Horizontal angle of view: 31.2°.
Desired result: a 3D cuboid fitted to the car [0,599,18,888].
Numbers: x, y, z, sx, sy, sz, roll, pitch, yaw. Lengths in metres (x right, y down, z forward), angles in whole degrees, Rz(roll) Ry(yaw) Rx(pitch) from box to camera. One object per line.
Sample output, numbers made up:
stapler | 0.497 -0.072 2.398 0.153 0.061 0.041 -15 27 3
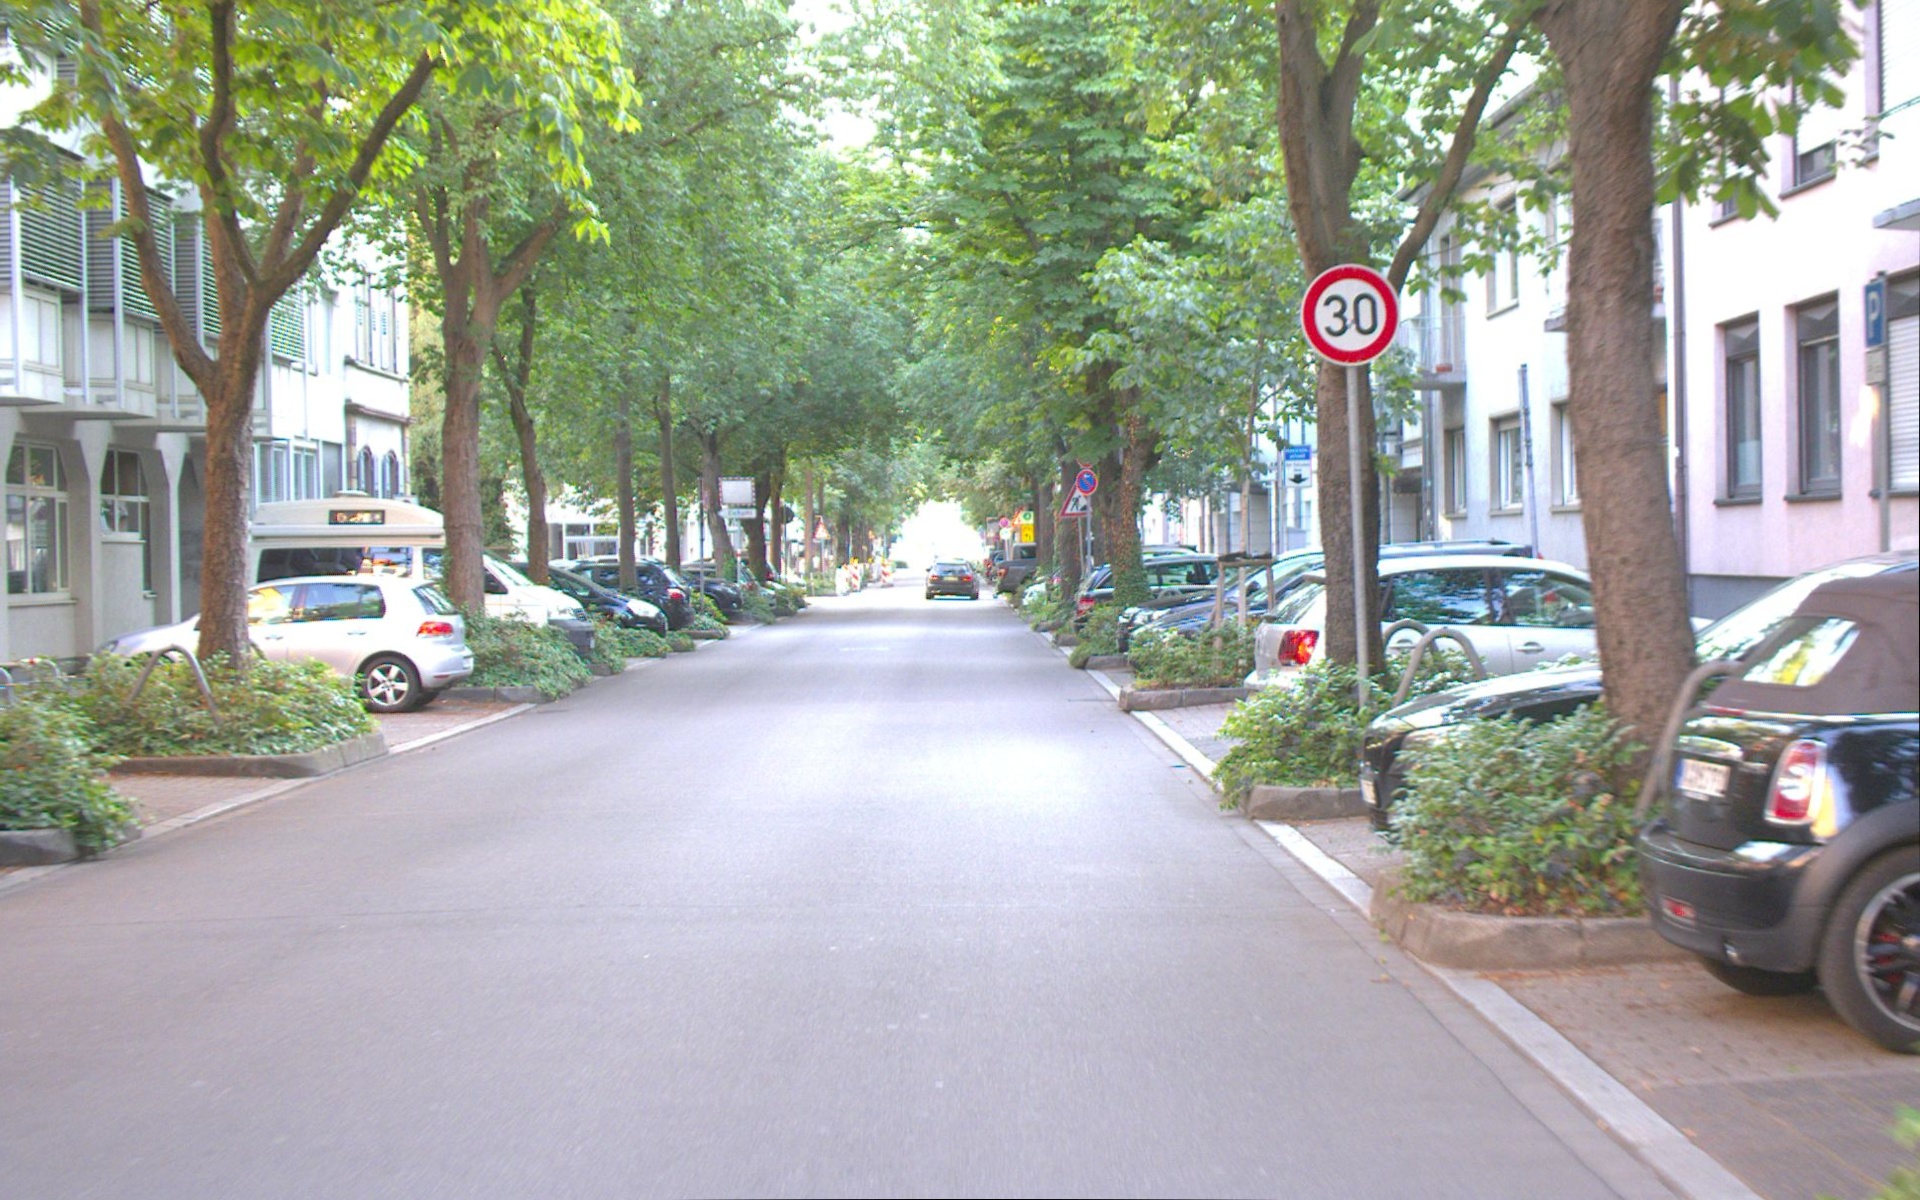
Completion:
car | -7.002 0.746 17.073 4.127 1.481 1.929 0 1 -1

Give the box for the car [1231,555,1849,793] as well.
car | 3.952 0.478 23.852 3.876 1.435 1.848 -2 1 -3

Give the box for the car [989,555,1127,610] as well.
car | 3.087 -0.558 109.239 4.268 1.560 1.963 -2 0 0

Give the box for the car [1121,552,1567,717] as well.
car | 4.144 0.361 37.692 4.718 1.704 1.950 0 2 2

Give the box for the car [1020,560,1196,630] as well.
car | 3.695 -0.143 86.232 4.268 1.560 1.963 -2 0 0

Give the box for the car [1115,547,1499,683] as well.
car | 4.407 0.178 44.183 4.682 1.516 1.963 -2 0 0

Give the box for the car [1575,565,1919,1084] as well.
car | 3.916 0.603 10.978 3.483 1.447 1.900 -2 1 -2

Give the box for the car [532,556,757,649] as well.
car | -6.771 0.045 74.143 4.595 1.801 1.963 -2 0 0

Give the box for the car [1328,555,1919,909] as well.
car | 4.182 0.527 15.877 4.711 1.416 2.036 -2 1 0

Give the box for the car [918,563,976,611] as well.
car | -0.434 -0.472 121.465 1.956 1.560 4.282 -2 1 0

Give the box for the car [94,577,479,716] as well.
car | -7.389 0.495 37.945 3.871 1.481 1.757 0 1 2

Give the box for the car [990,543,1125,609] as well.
car | 3.155 -0.772 112.044 4.268 1.955 1.963 -2 0 0

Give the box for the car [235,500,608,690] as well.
car | -7.194 -0.072 46.270 4.682 2.469 2.000 0 0 0

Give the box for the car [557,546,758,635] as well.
car | -7.503 -0.243 85.601 4.762 1.977 1.963 -2 0 0

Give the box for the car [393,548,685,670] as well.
car | -7.148 0.142 58.728 4.682 1.848 1.963 -2 0 0

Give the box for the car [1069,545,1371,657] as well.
car | 3.991 0.000 53.097 4.508 1.516 1.995 -2 0 4

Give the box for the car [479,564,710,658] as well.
car | -7.029 0.203 66.452 4.203 1.630 1.963 -2 0 0

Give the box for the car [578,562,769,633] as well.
car | -7.468 -0.071 89.923 4.762 1.624 1.963 -2 0 0

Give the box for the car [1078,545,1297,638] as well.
car | 4.349 -0.166 66.205 4.050 1.592 1.825 -2 0 0
